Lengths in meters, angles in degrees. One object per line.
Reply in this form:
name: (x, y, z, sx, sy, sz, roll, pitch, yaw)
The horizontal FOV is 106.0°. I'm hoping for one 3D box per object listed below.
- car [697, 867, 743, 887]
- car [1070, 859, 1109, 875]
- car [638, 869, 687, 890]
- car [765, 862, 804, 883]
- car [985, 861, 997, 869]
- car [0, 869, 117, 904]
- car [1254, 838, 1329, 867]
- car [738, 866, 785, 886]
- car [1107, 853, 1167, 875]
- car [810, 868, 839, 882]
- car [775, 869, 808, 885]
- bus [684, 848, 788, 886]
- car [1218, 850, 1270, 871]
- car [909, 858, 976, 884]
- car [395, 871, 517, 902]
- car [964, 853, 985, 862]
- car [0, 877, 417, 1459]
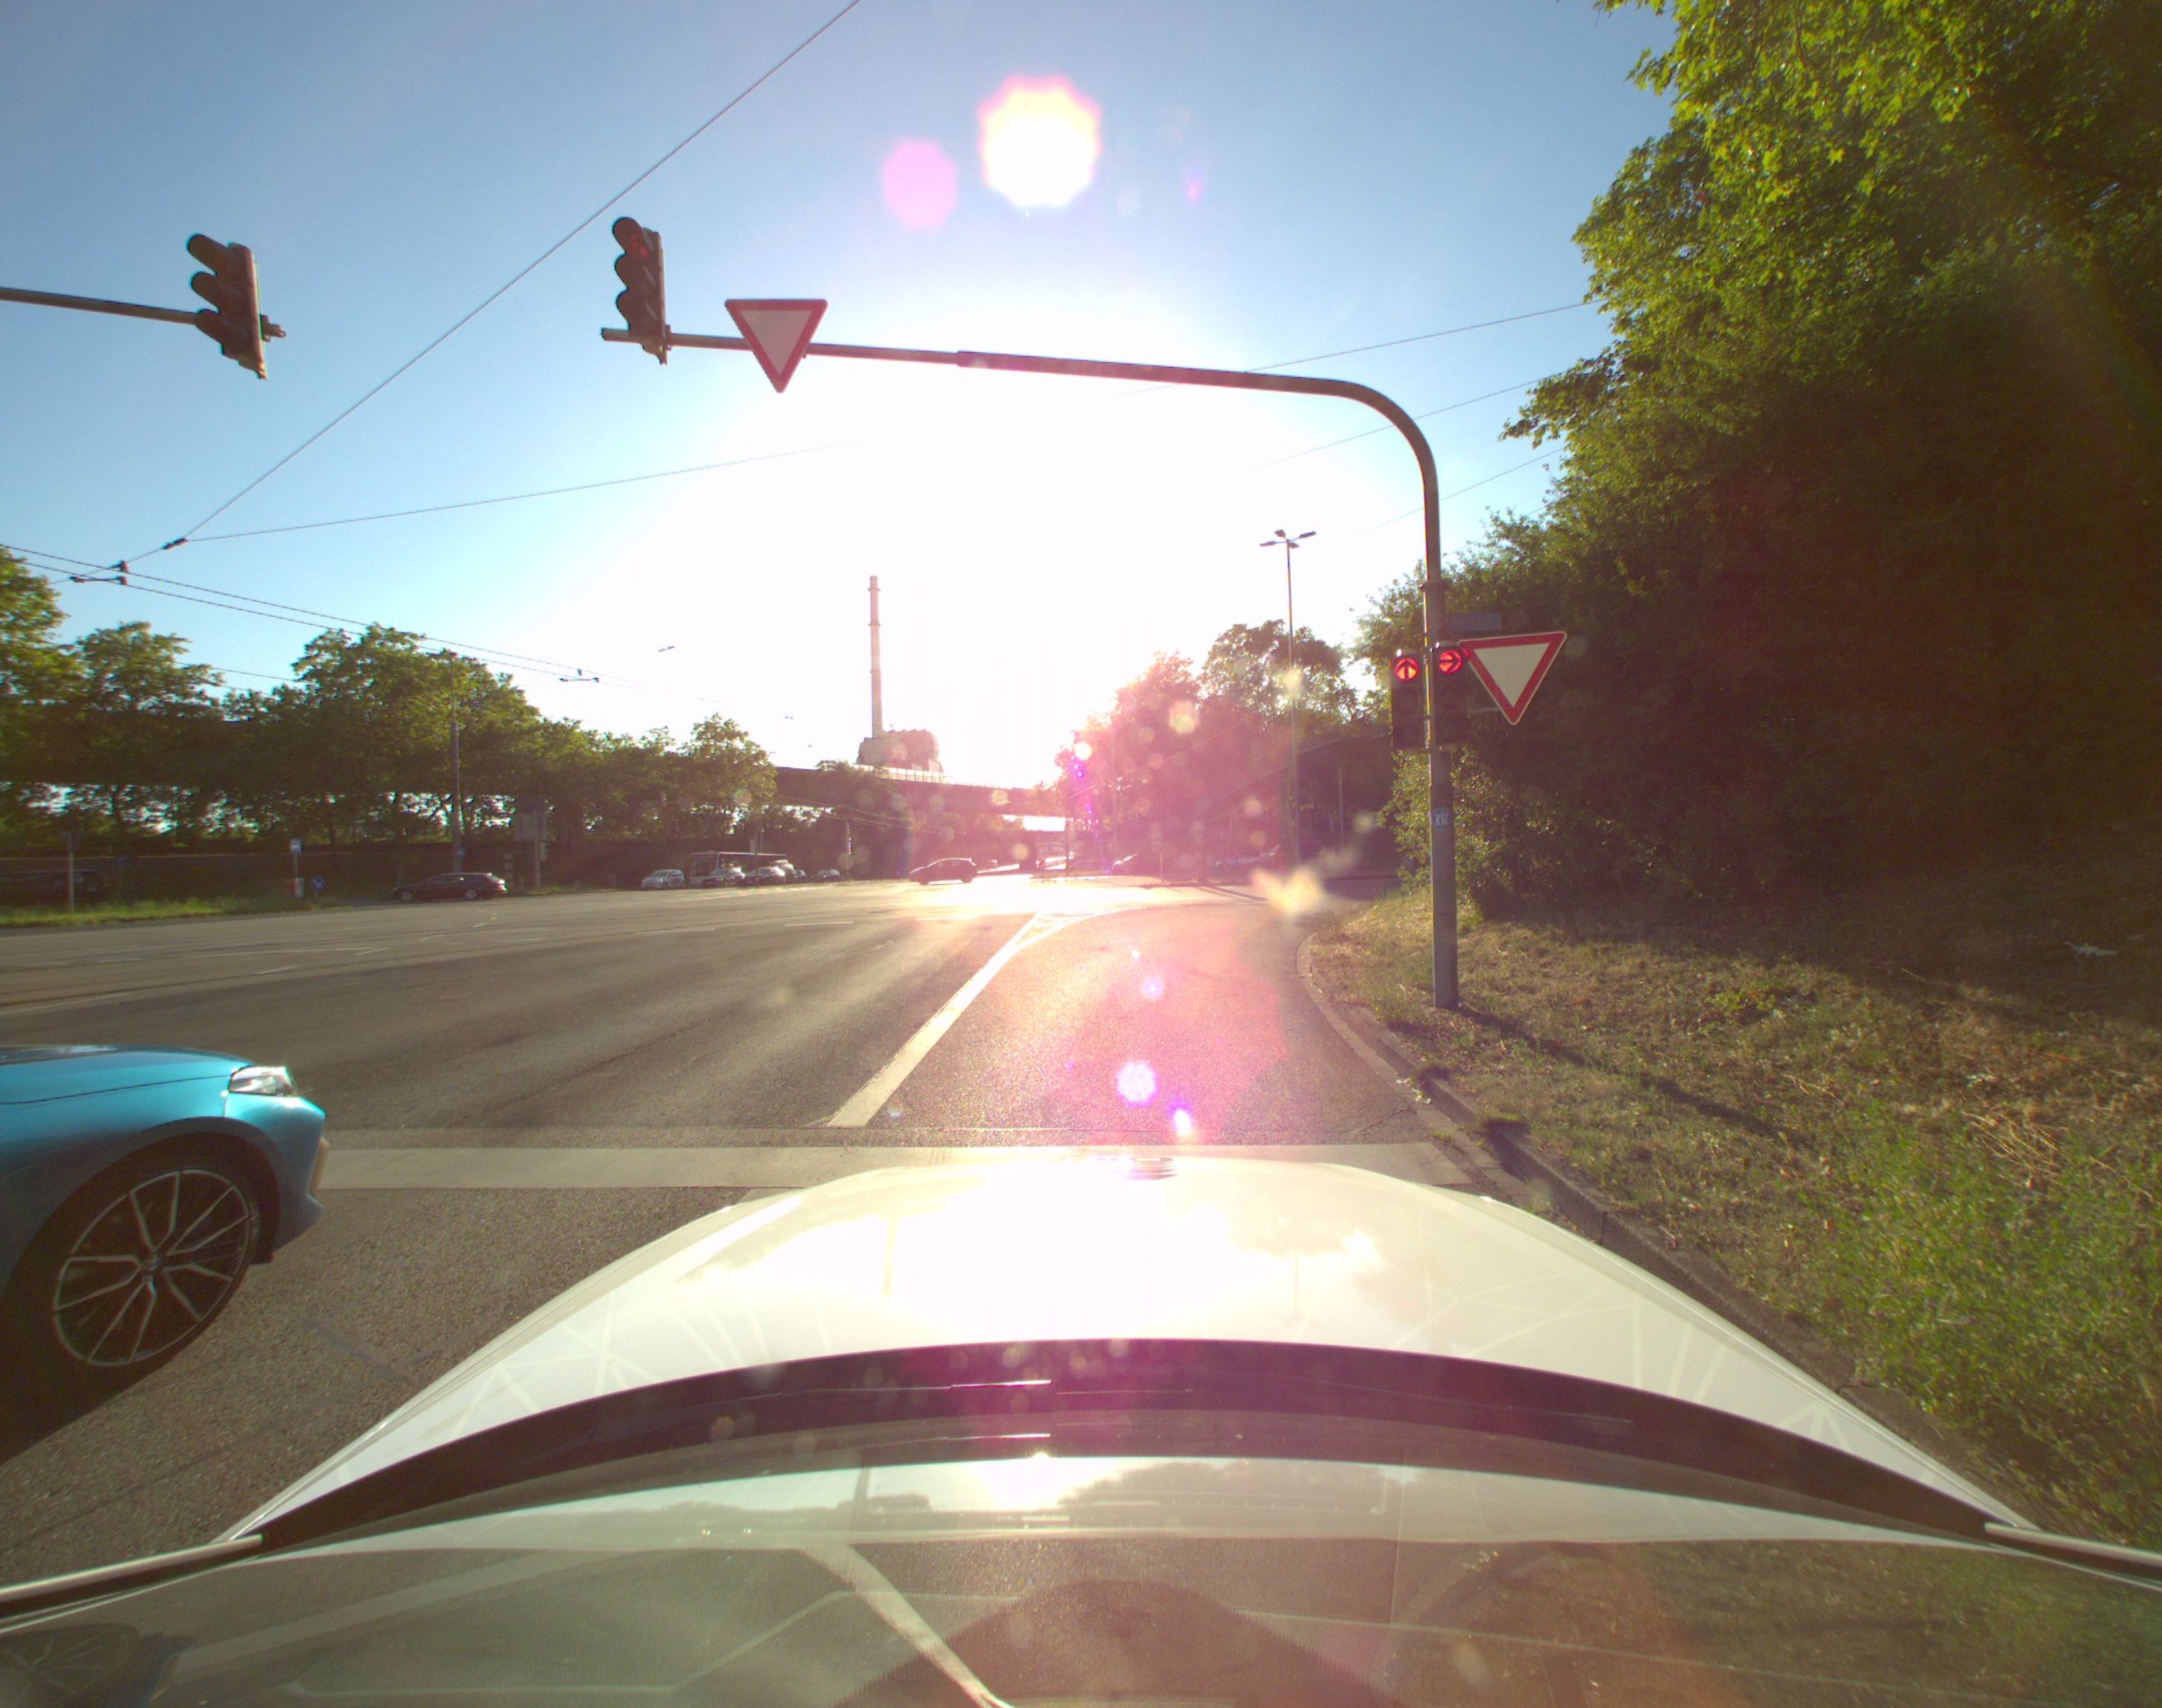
car: (-26.396, 1.660, 59.674, 1.599, 1.354, 3.999, -1, 0, 0)
car: (0.753, 1.178, 76.444, 1.703, 1.422, 4.108, -1, 0, -33)
car: (-30.099, 1.822, 58.703, 1.599, 1.354, 3.734, -1, 0, 0)
car: (-25.592, 1.566, 70.491, 1.704, 1.652, 4.097, -1, 0, 2)
car: (-19.082, 2.341, 172.059, 1.703, 1.652, 4.101, -1, 0, 5)
car: (-53.408, 1.666, 42.027, 4.518, 1.623, 1.994, -1, 0, -9)
car: (14.443, -0.095, 55.892, 4.705, 1.905, 1.987, -1, 0, -20)
car: (-23.523, 1.583, 60.113, 1.704, 1.354, 4.097, -1, 0, 2)
car: (3.833, 0.679, 55.970, 3.730, 1.422, 1.687, -1, 0, -17)
car: (-27.768, 2.257, 88.129, 1.693, 1.442, 4.002, -1, 0, 2)
car: (-28.888, 2.245, 81.378, 1.693, 1.442, 4.002, -1, 0, 2)
bus: (-29.538, 1.045, 70.675, 2.810, 2.954, 12.866, -1, 0, 4)
car: (13.565, 0.557, 67.783, 4.179, 1.652, 1.721, -1, 0, 10)
car: (-8.140, 0.973, 47.869, 3.730, 1.422, 1.687, -1, 0, -17)
car: (-32.168, 1.651, 42.064, 4.526, 1.454, 1.991, -1, 0, -14)
car: (-21.697, 0.693, 165.683, 1.974, 1.771, 4.025, -1, -1, 34)
car: (-3.576, 0.811, 1.043, 1.779, 1.417, 4.511, -1, 0, -1)
